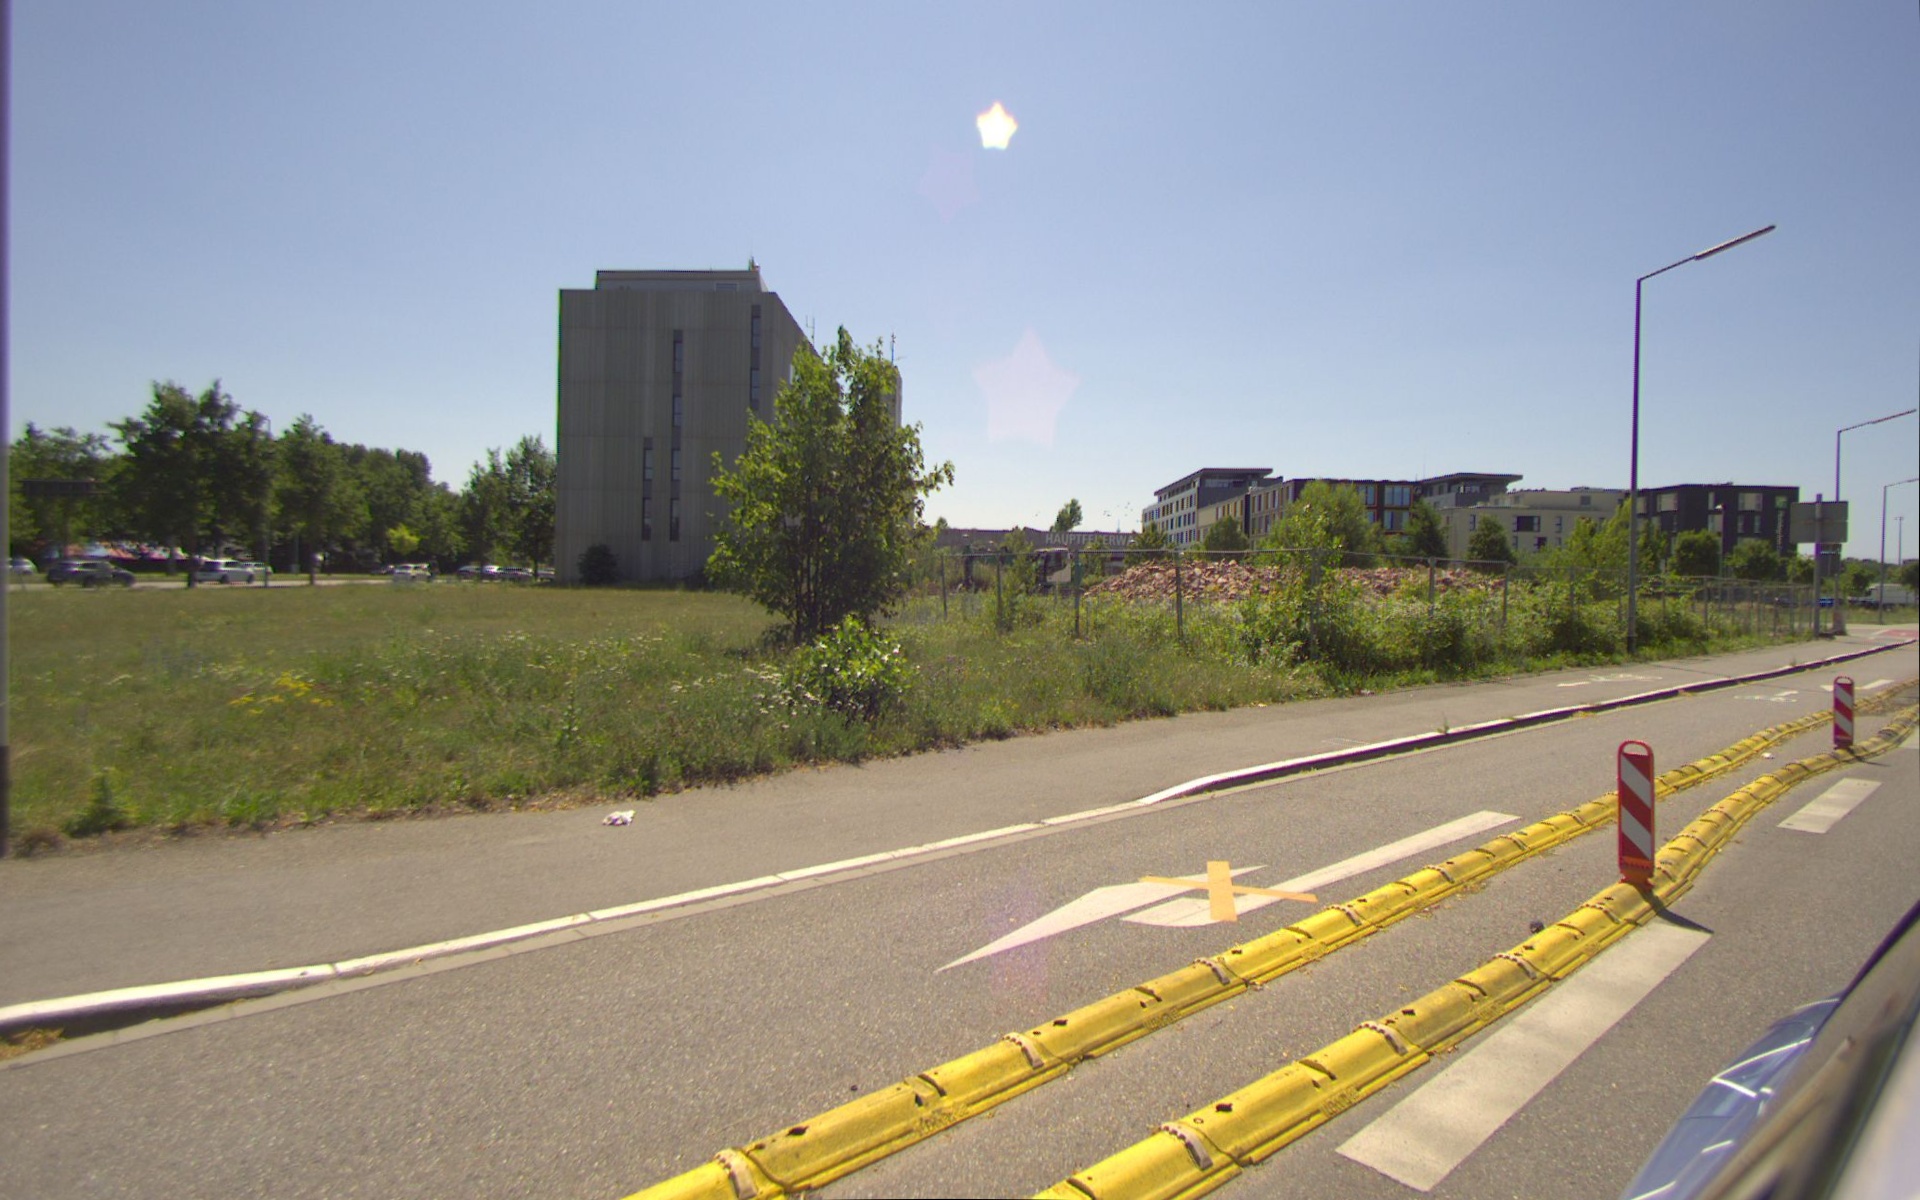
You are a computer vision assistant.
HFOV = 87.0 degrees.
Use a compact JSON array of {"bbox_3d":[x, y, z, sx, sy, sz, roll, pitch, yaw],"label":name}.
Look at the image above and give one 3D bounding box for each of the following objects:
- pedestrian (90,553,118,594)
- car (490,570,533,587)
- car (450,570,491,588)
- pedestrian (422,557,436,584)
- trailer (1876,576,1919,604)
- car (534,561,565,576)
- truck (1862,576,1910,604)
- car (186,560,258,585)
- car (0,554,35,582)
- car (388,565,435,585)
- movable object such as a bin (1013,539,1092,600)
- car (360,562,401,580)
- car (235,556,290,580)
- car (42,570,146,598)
[{"bbox_3d":[-33.934,-1.048,40.142,0.489,1.583,0.737,0,0,-1],"label":"pedestrian"},{"bbox_3d":[-42.257,-2.039,95.530,1.965,1.523,4.069,0,1,6],"label":"car"},{"bbox_3d":[-45.121,-1.904,93.391,1.707,1.572,4.408,0,0,0],"label":"car"},{"bbox_3d":[-34.123,-1.906,65.048,0.489,1.712,0.737,0,0,-1],"label":"pedestrian"},{"bbox_3d":[119.656,-1.184,126.412,8.030,3.390,1.998,2,1,4],"label":"trailer"},{"bbox_3d":[-44.713,-3.421,110.304,1.708,1.571,3.999,0,1,1],"label":"car"},{"bbox_3d":[115.861,-1.308,126.710,3.928,3.377,1.998,1,1,4],"label":"truck"},{"bbox_3d":[-47.503,-1.747,65.238,1.708,1.571,3.999,0,1,1],"label":"car"},{"bbox_3d":[-61.899,-2.052,64.684,1.874,1.738,3.998,0,1,2],"label":"car"},{"bbox_3d":[-45.087,-2.050,83.274,1.708,1.571,3.999,0,1,1],"label":"car"},{"bbox_3d":[4.929,-1.585,53.961,3.619,3.101,2.207,0,1,-35],"label":"movable object such as a bin"},{"bbox_3d":[-61.549,-3.116,107.593,1.963,1.838,3.998,0,1,2],"label":"car"},{"bbox_3d":[-60.437,-2.756,87.739,1.963,2.039,3.998,0,1,2],"label":"car"},{"bbox_3d":[-46.052,-0.863,53.924,1.866,1.408,4.205,0,1,2],"label":"car"}]
